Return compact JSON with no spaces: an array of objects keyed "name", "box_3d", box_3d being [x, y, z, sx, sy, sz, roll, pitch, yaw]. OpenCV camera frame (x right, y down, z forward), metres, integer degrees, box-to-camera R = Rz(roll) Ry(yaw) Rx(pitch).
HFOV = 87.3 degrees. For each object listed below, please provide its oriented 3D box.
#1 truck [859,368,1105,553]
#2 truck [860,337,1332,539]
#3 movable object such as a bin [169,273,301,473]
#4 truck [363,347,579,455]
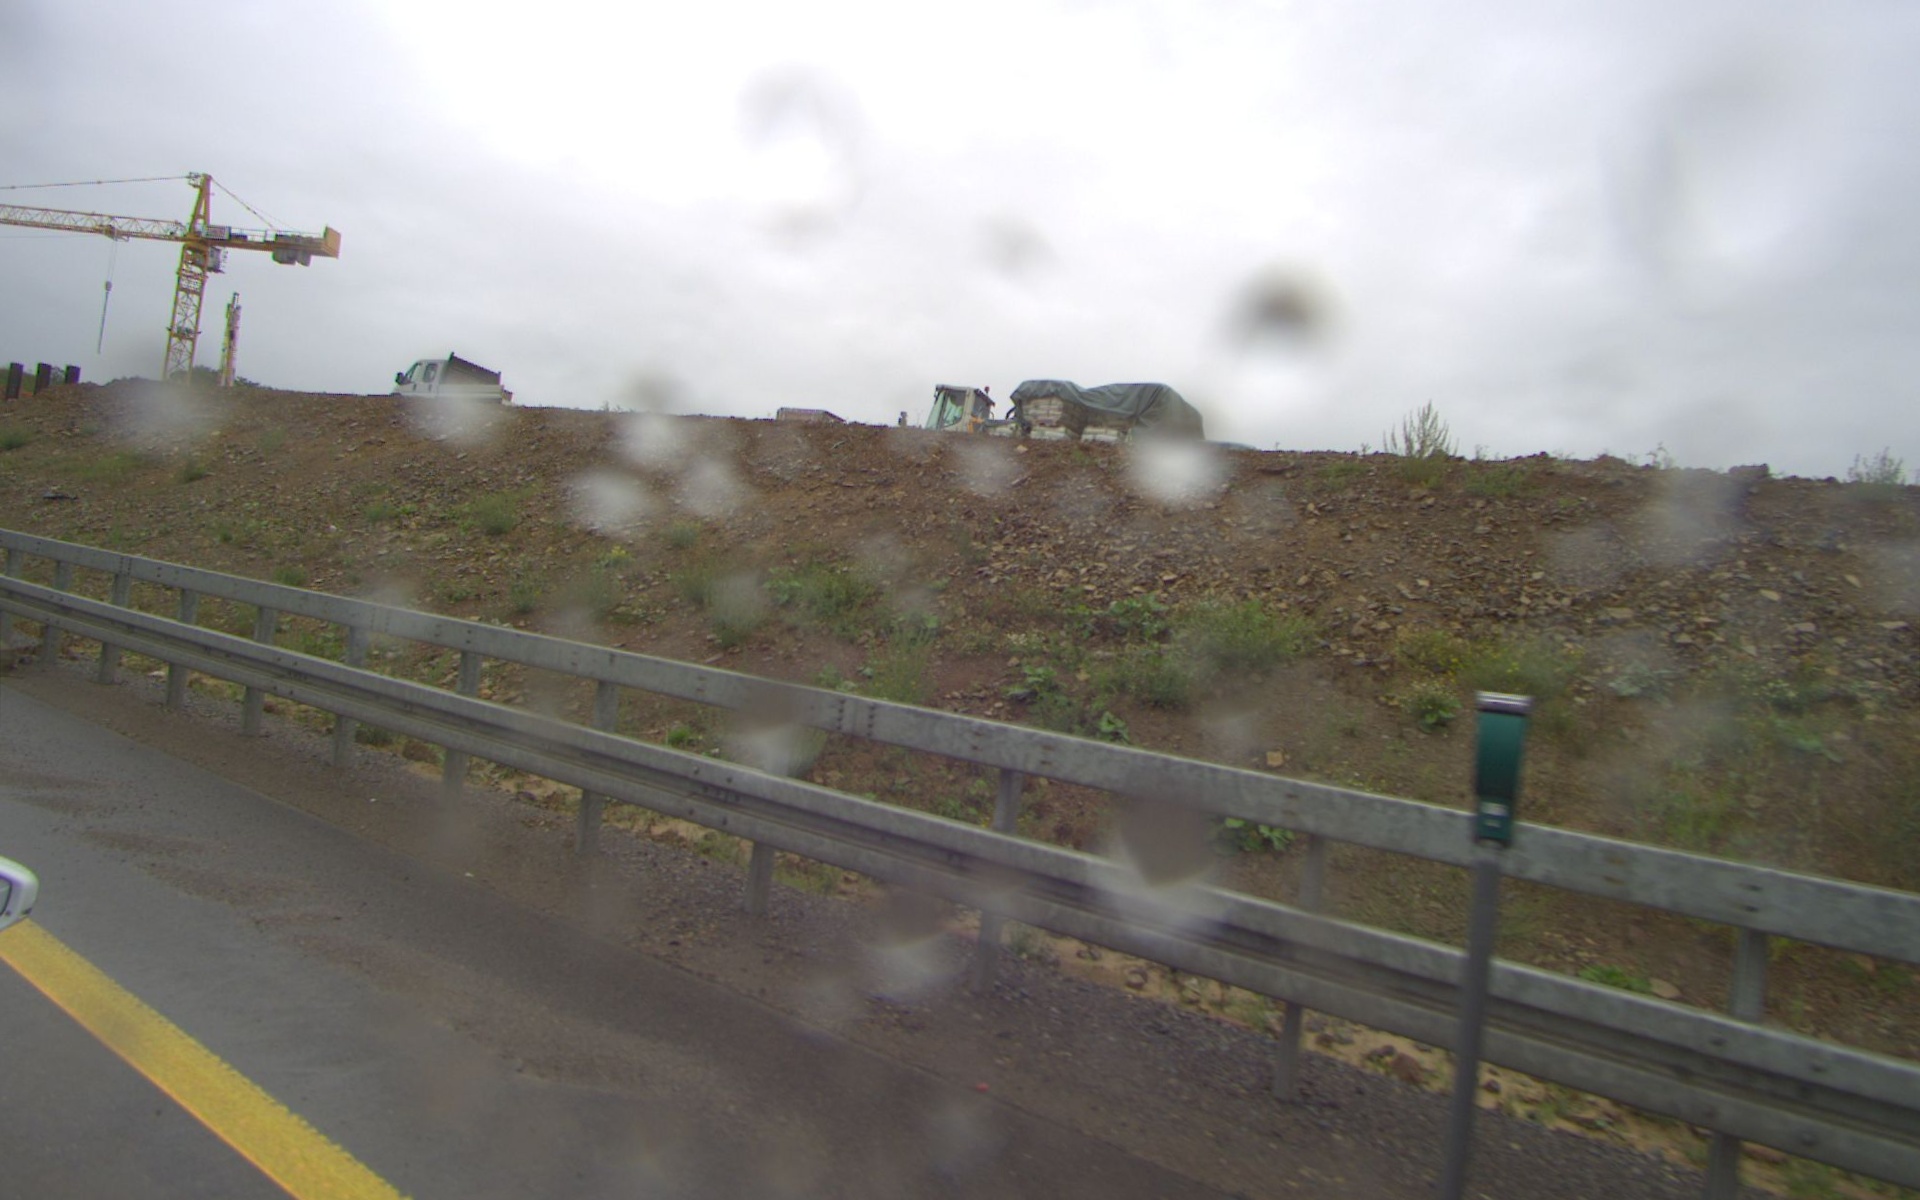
[{"name":"truck","box_3d":[0.549,-3.700,27.266,5.879,4.268,2.377,5,-1,31]},{"name":"truck","box_3d":[2.568,-3.121,20.684,8.815,2.908,3.400,5,-2,33]},{"name":"movable object such as a bin","box_3d":[-48.287,-14.577,66.832,4.706,10.970,10.177,7,-2,-44]},{"name":"truck","box_3d":[-15.632,-6.198,32.051,6.868,2.584,2.651,5,-2,31]}]
